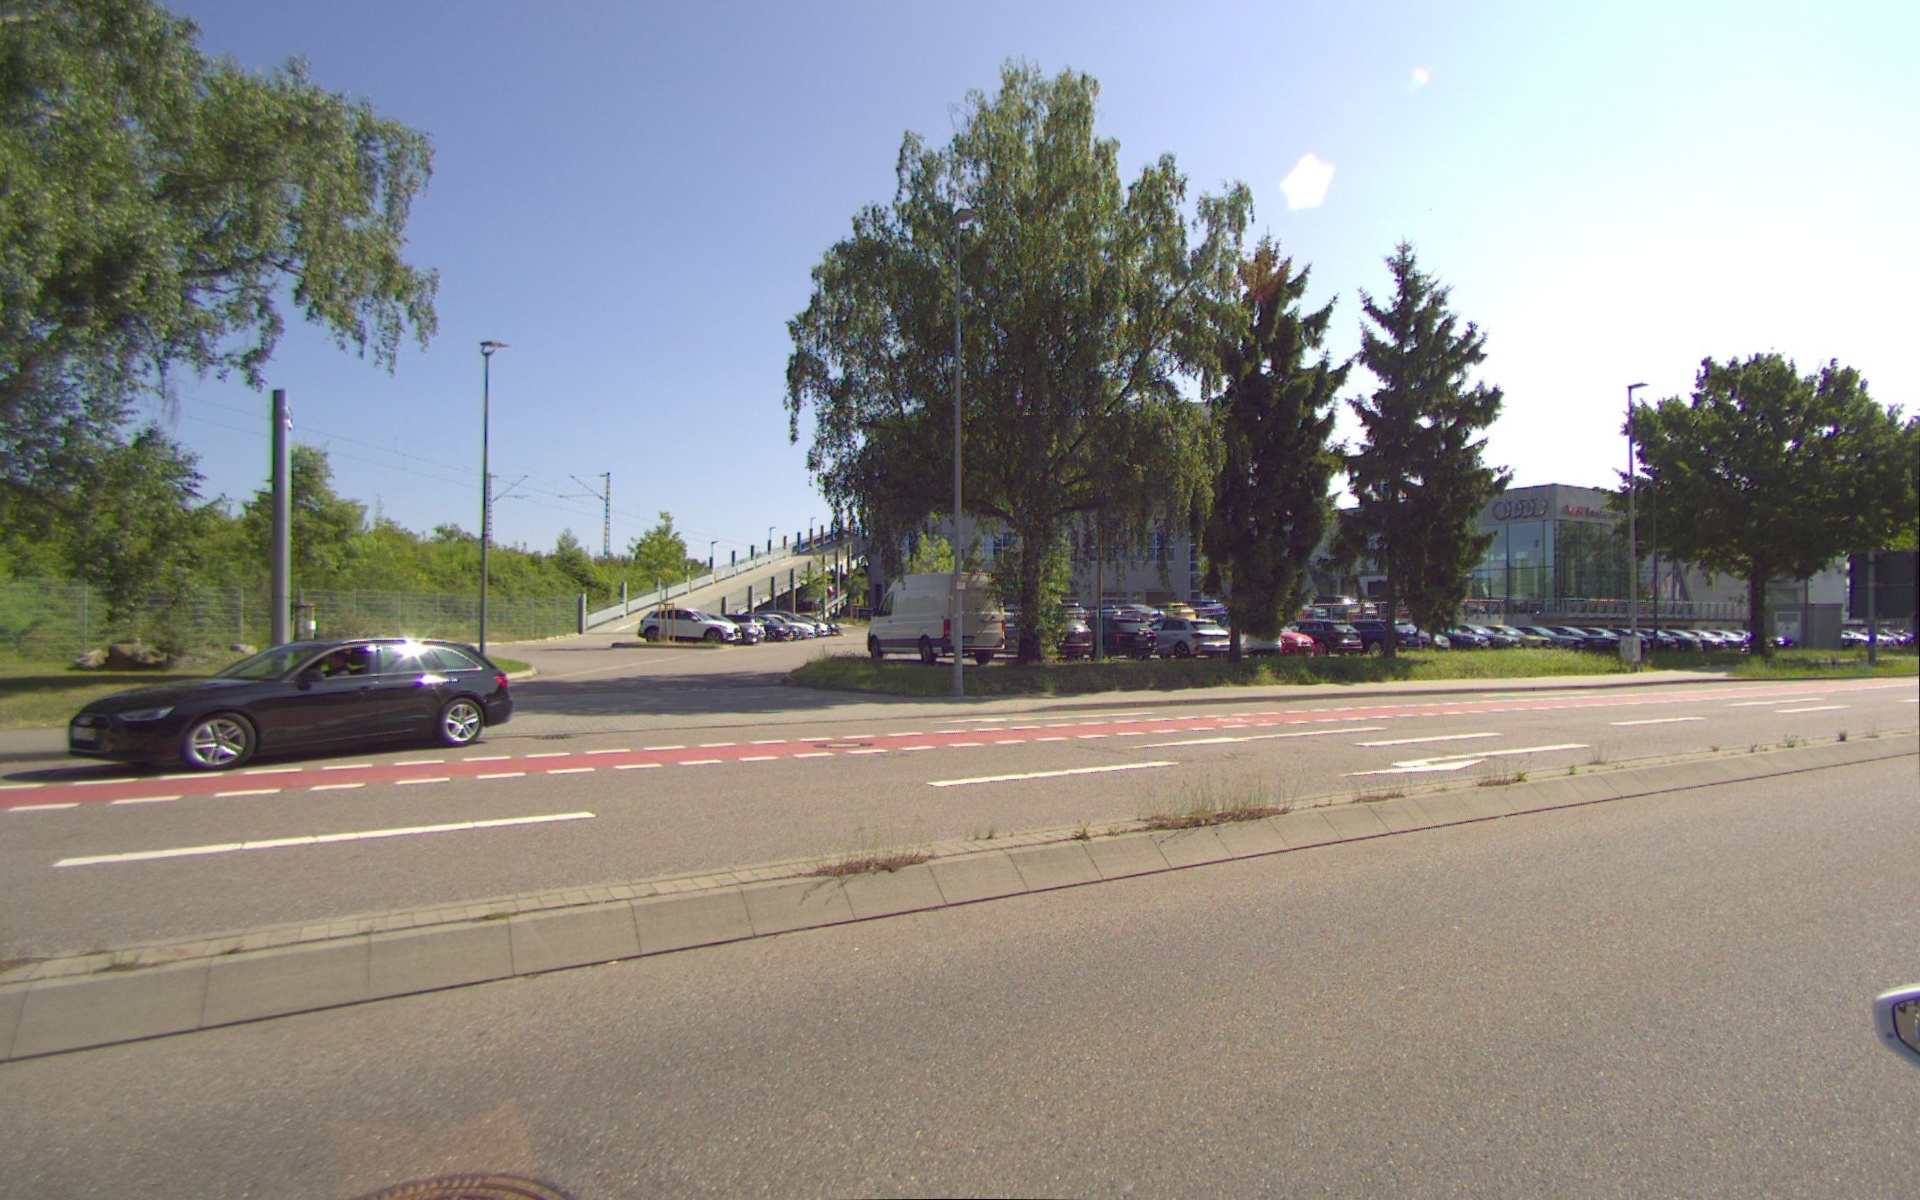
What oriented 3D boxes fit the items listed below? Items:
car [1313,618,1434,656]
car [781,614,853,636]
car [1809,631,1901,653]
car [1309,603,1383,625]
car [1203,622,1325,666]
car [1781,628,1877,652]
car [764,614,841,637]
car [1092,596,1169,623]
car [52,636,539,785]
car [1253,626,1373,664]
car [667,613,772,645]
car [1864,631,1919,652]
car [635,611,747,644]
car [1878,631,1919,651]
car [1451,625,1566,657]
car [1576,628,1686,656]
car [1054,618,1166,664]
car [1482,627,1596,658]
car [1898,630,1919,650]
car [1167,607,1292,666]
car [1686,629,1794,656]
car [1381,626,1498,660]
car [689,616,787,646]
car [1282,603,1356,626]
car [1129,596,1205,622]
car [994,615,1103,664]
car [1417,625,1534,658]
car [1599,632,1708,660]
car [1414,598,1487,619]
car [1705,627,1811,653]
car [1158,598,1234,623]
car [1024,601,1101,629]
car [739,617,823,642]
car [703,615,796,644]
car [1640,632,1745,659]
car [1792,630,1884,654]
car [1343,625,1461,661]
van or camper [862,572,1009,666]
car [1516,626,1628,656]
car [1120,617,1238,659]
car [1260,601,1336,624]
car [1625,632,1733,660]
[{"bbox_3d":[16.279,1.443,39.774,1.929,1.399,4.251,1,-2,-27],"label":"car"},{"bbox_3d":[-9.545,1.677,67.332,4.458,1.461,2.001,0,-1,4],"label":"car"},{"bbox_3d":[57.292,2.668,64.369,2.001,1.394,4.024,1,-2,-29],"label":"car"},{"bbox_3d":[24.735,0.901,64.524,1.930,1.368,4.249,1,-2,-28],"label":"car"},{"bbox_3d":[11.142,1.567,37.071,1.929,1.523,4.251,1,-2,-27],"label":"car"},{"bbox_3d":[52.287,2.376,60.506,1.976,1.394,3.970,1,-2,-29],"label":"car"},{"bbox_3d":[-9.959,1.633,63.763,4.458,1.461,2.001,0,-1,4],"label":"car"},{"bbox_3d":[9.175,0.534,54.401,1.930,1.368,4.249,1,-2,-28],"label":"car"},{"bbox_3d":[-7.837,1.184,12.448,1.963,1.432,4.676,-1,-2,27],"label":"car"},{"bbox_3d":[13.554,1.704,38.815,1.929,1.346,4.251,1,-2,-27],"label":"car"},{"bbox_3d":[-11.455,1.384,47.948,4.458,1.461,2.001,0,-1,4],"label":"car"},{"bbox_3d":[64.190,2.778,68.067,1.901,1.394,3.970,1,-2,-29],"label":"car"},{"bbox_3d":[-12.110,1.230,45.421,4.458,1.461,2.001,0,-1,4],"label":"car"},{"bbox_3d":[66.249,2.808,69.243,1.901,1.394,3.970,1,-2,-29],"label":"car"},{"bbox_3d":[24.784,1.813,45.531,1.929,1.368,4.251,1,-2,-27],"label":"car"},{"bbox_3d":[33.816,2.089,50.715,1.929,1.368,4.251,1,-2,-27],"label":"car"},{"bbox_3d":[4.817,1.315,32.826,1.719,1.372,4.077,2,-2,-24],"label":"car"},{"bbox_3d":[26.916,1.936,46.833,1.929,1.368,4.251,1,-2,-27],"label":"car"},{"bbox_3d":[68.667,2.822,70.355,1.901,1.394,3.970,1,-2,-29],"label":"car"},{"bbox_3d":[9.361,1.254,35.287,1.929,1.909,4.251,1,-2,-27],"label":"car"},{"bbox_3d":[42.513,2.289,54.857,1.929,1.368,4.251,1,-2,-27],"label":"car"},{"bbox_3d":[20.394,1.794,42.916,1.929,1.368,4.251,1,-2,-27],"label":"car"},{"bbox_3d":[-11.190,1.559,50.905,4.458,1.461,2.001,0,-1,4],"label":"car"},{"bbox_3d":[22.511,0.928,63.122,1.930,1.368,4.249,1,-2,-28],"label":"car"},{"bbox_3d":[11.515,0.517,56.188,1.930,1.368,4.249,1,-2,-28],"label":"car"},{"bbox_3d":[2.722,1.218,31.767,1.719,1.457,4.077,1,-1,-24],"label":"car"},{"bbox_3d":[22.546,1.784,44.075,1.929,1.368,4.251,1,-2,-27],"label":"car"},{"bbox_3d":[35.932,2.346,52.163,1.929,1.368,4.251,1,-2,-27],"label":"car"},{"bbox_3d":[33.909,0.628,69.500,1.930,1.368,4.249,1,-2,-28],"label":"car"},{"bbox_3d":[44.715,2.213,56.396,1.929,1.368,4.251,1,-2,-27],"label":"car"},{"bbox_3d":[13.469,0.659,57.614,1.930,1.368,4.249,1,-2,-28],"label":"car"},{"bbox_3d":[5.227,0.792,51.874,1.930,1.368,4.249,1,-2,-28],"label":"car"},{"bbox_3d":[-10.417,1.724,58.638,4.458,1.461,2.001,0,-1,4],"label":"car"},{"bbox_3d":[-11.117,1.565,53.271,4.458,1.461,2.001,0,-1,4],"label":"car"},{"bbox_3d":[39.978,2.450,54.910,1.929,1.368,4.251,1,-2,-27],"label":"car"},{"bbox_3d":[55.016,2.618,62.994,1.843,1.394,3.970,1,-2,-29],"label":"car"},{"bbox_3d":[18.226,1.746,41.583,1.929,1.368,4.251,1,-2,-27],"label":"car"},{"bbox_3d":[-0.859,0.457,29.658,1.977,2.504,5.350,-1,1,-31],"label":"van or camper"},{"bbox_3d":[29.169,1.937,48.009,1.929,1.368,4.251,1,-2,-27],"label":"car"},{"bbox_3d":[7.283,1.259,33.813,1.721,1.310,4.072,1,-2,-27],"label":"car"},{"bbox_3d":[20.578,0.784,61.343,1.930,1.368,4.249,1,-2,-28],"label":"car"},{"bbox_3d":[38.120,2.406,53.365,1.929,1.368,4.251,1,-2,-27],"label":"car"}]
